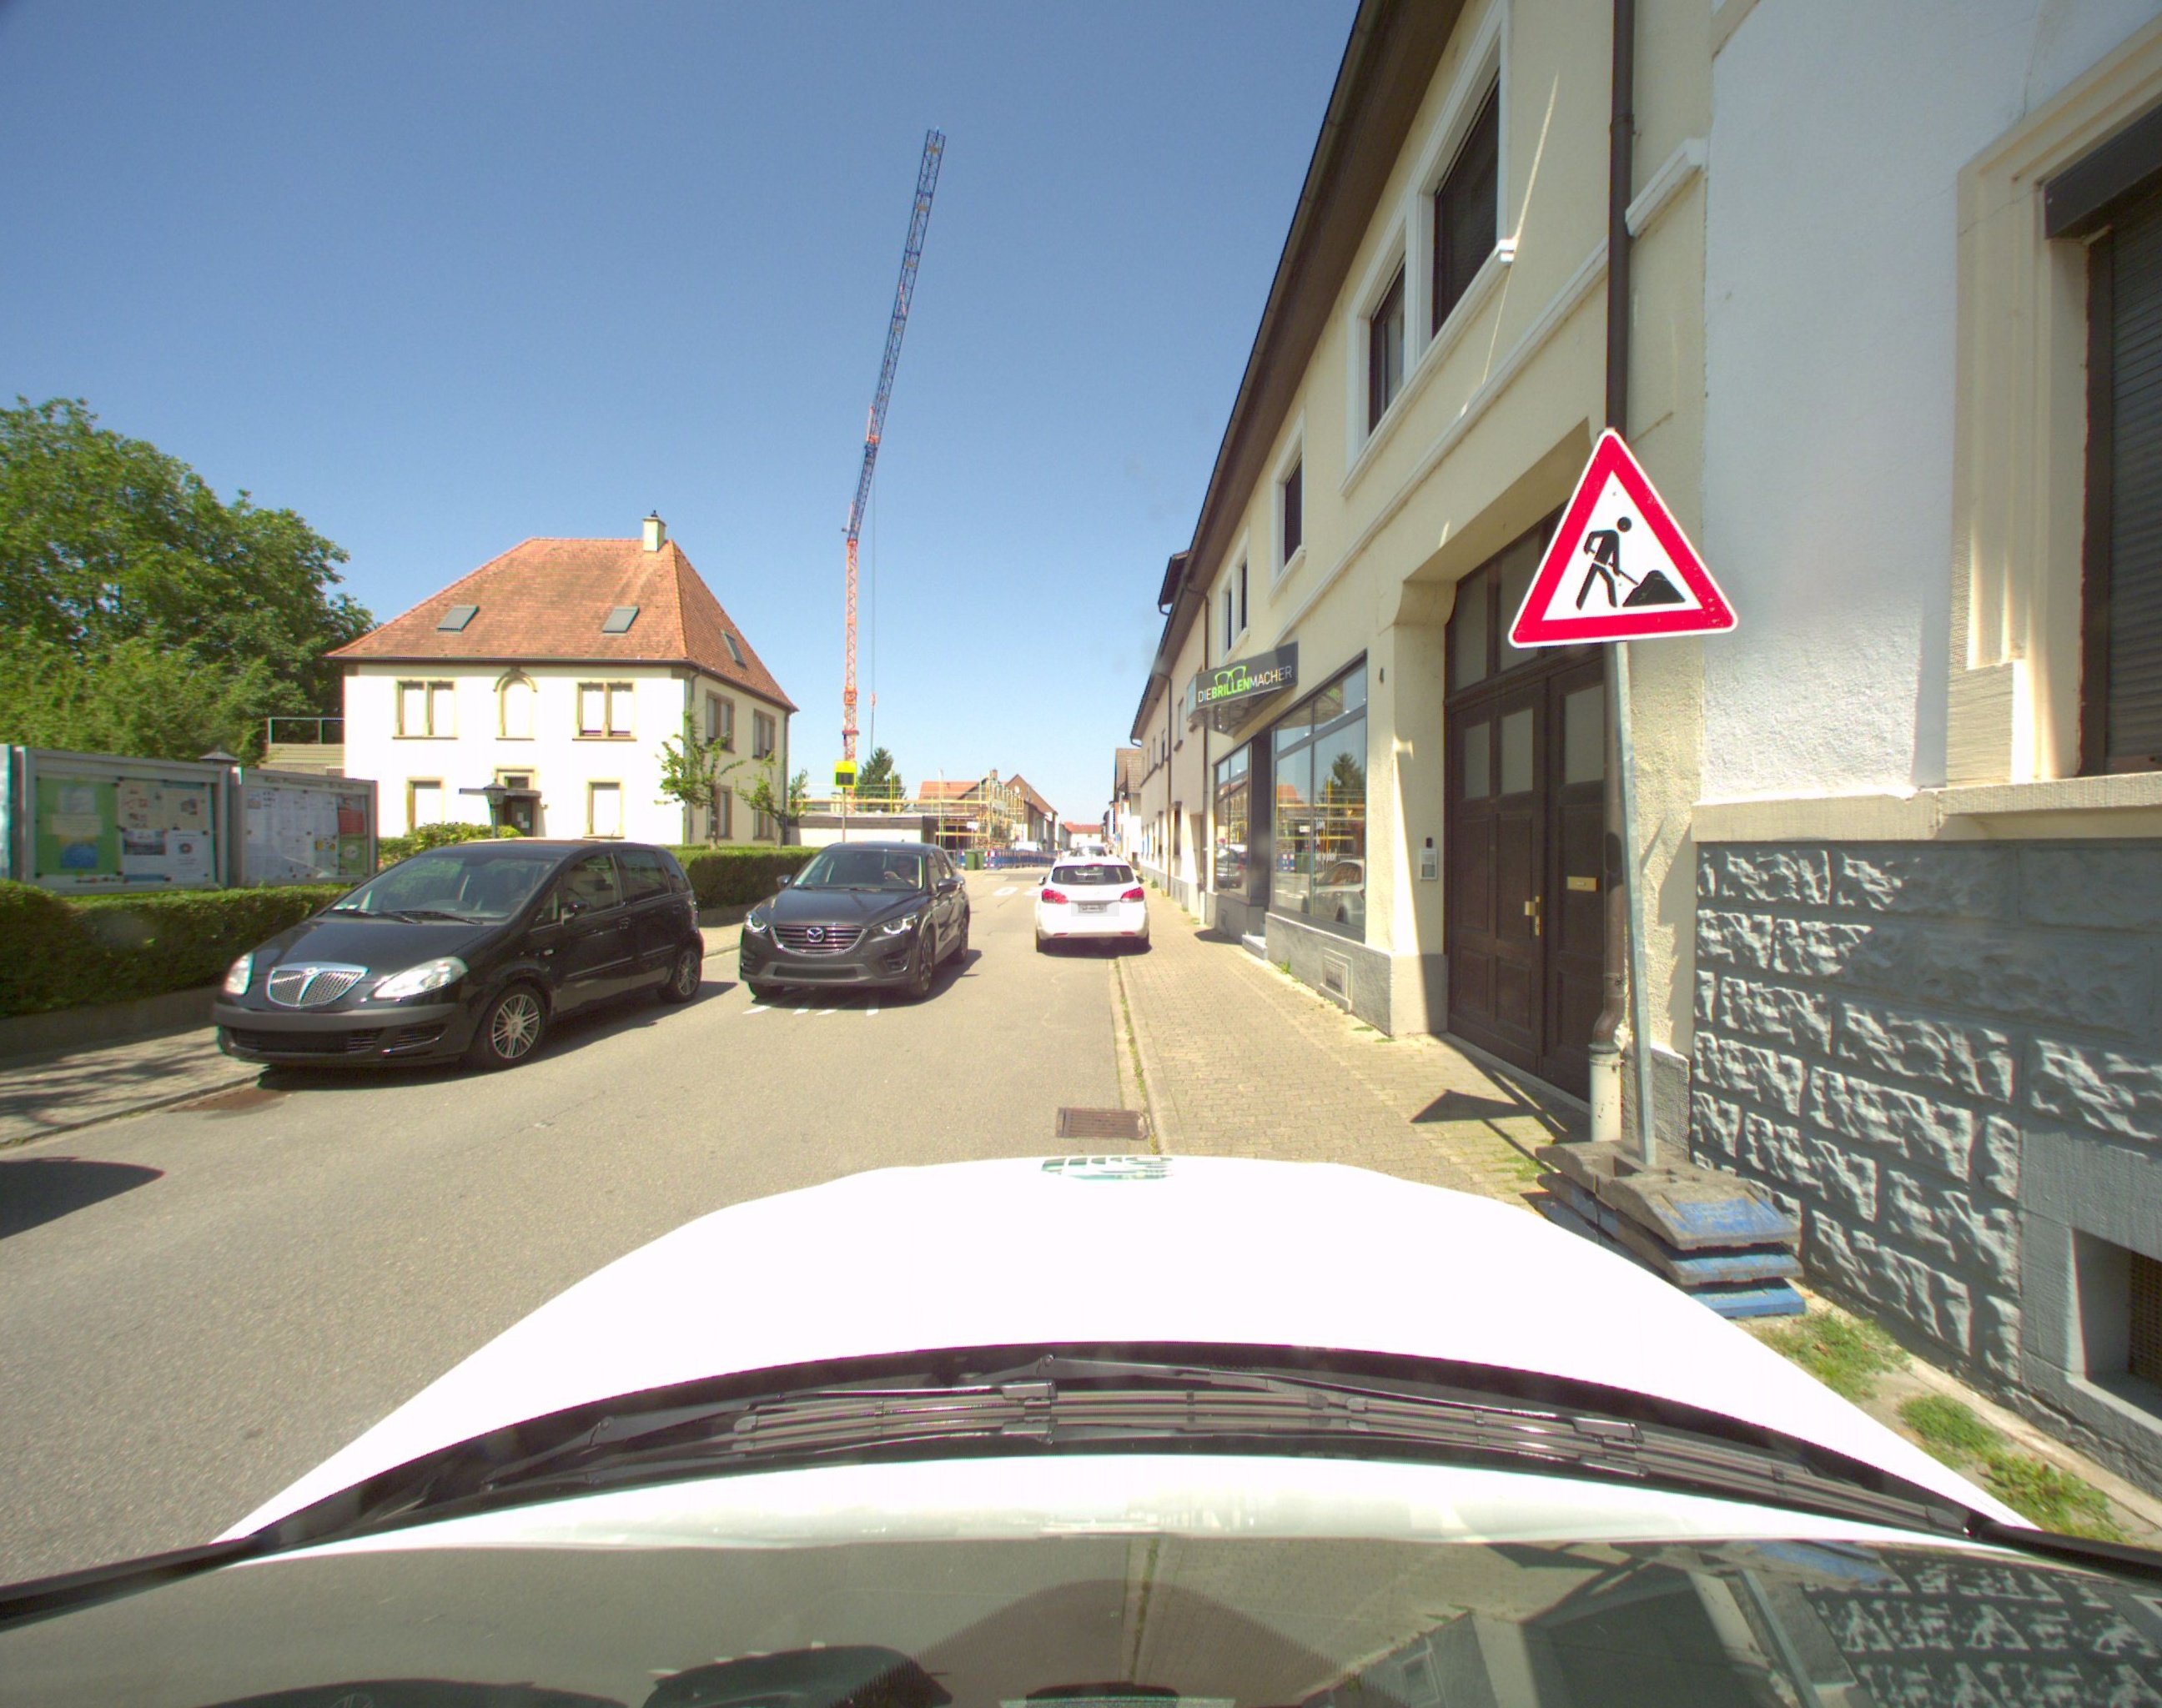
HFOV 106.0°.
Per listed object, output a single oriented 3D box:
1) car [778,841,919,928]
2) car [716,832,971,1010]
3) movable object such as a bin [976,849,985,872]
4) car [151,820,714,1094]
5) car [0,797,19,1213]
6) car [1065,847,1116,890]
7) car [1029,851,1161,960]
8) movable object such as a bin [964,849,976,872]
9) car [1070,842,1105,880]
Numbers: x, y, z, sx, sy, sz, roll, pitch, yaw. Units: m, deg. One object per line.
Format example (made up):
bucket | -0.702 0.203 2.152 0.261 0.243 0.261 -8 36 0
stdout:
car | -4.852 0.575 17.646 1.820 1.630 4.216 1 0 0
car | -2.534 0.629 9.827 1.876 1.668 4.152 1 0 -1
movable object such as a bin | -5.294 0.344 42.798 0.431 1.155 0.363 1 0 -9
car | -4.751 0.606 6.784 1.632 1.628 3.768 1 0 0
car | -5.147 0.579 1.191 1.808 1.605 4.026 1 0 2
car | 0.337 0.553 33.790 1.880 1.556 3.891 -3 1 -2
car | 0.120 0.738 13.849 1.882 1.542 4.238 1 0 -3
movable object such as a bin | -5.758 0.330 42.317 0.621 1.155 0.676 1 0 -7
car | 0.325 0.296 38.970 1.559 1.612 3.543 1 2 0
